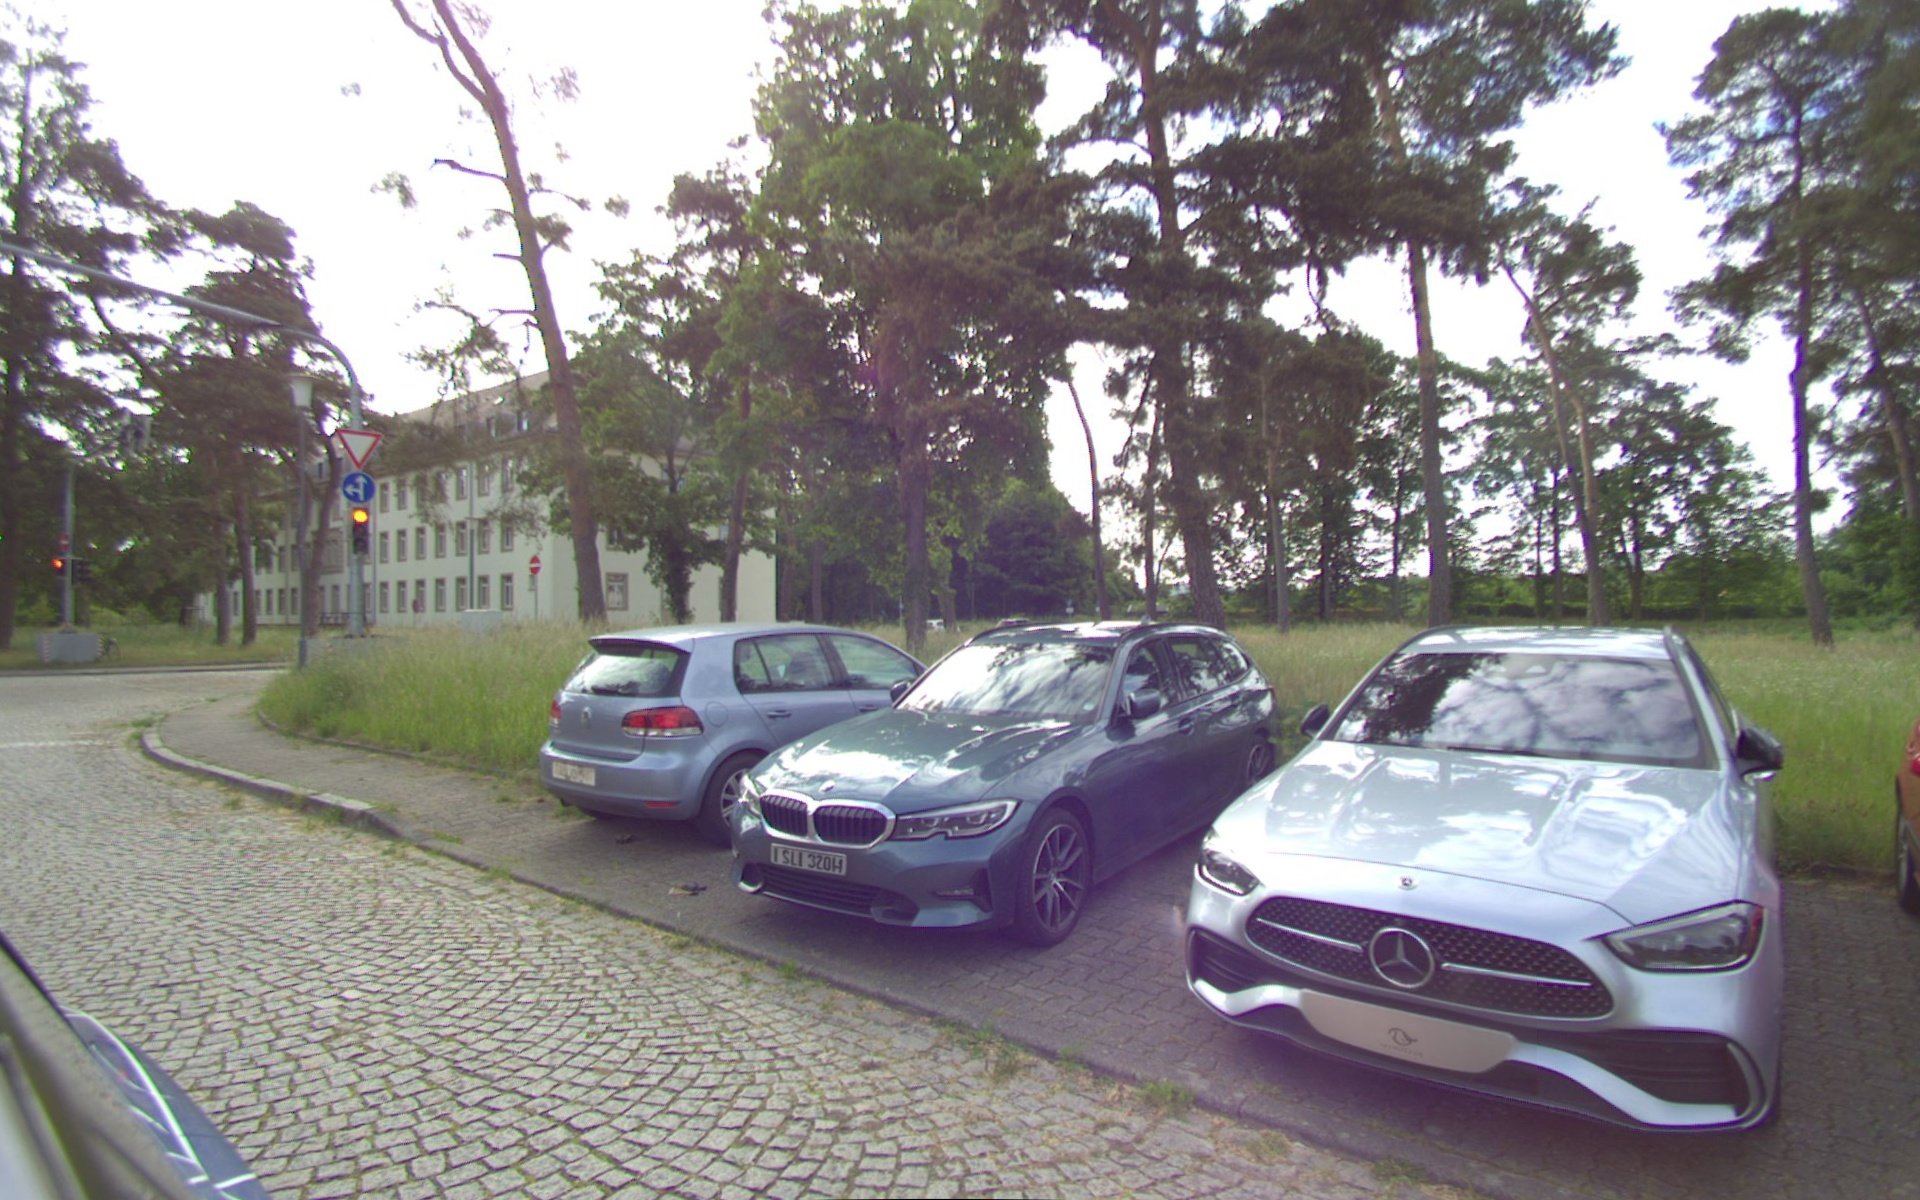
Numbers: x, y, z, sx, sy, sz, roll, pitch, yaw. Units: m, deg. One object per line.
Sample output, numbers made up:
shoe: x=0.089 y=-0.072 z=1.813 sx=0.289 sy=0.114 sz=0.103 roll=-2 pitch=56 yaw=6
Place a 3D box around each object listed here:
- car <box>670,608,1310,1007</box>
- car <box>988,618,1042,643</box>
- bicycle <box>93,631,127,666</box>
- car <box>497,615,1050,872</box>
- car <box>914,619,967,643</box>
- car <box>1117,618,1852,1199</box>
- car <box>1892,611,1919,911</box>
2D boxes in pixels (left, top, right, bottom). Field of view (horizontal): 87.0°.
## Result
car: x=0.587 y=0.832 z=6.334 sx=1.866 sy=1.548 sz=4.462 roll=-1 pitch=-1 yaw=35
car: x=3.854 y=2.128 z=70.606 sx=1.716 sy=1.622 sz=4.003 roll=0 pitch=0 yaw=41
bicycle: x=-27.920 y=1.576 z=33.233 sx=1.414 sy=1.082 sz=0.492 roll=-1 pitch=1 yaw=36
car: x=-1.236 y=0.886 z=8.258 sx=1.825 sy=1.481 sz=4.285 roll=-1 pitch=-1 yaw=40
car: x=-1.459 y=2.300 z=75.809 sx=1.717 sy=1.622 sz=4.001 roll=0 pitch=0 yaw=42
car: x=2.691 y=0.841 z=4.670 sx=1.947 sy=1.466 sz=4.393 roll=-1 pitch=-1 yaw=39
car: x=4.626 y=0.764 z=3.399 sx=1.853 sy=1.466 sz=4.212 roll=-2 pitch=-1 yaw=39
